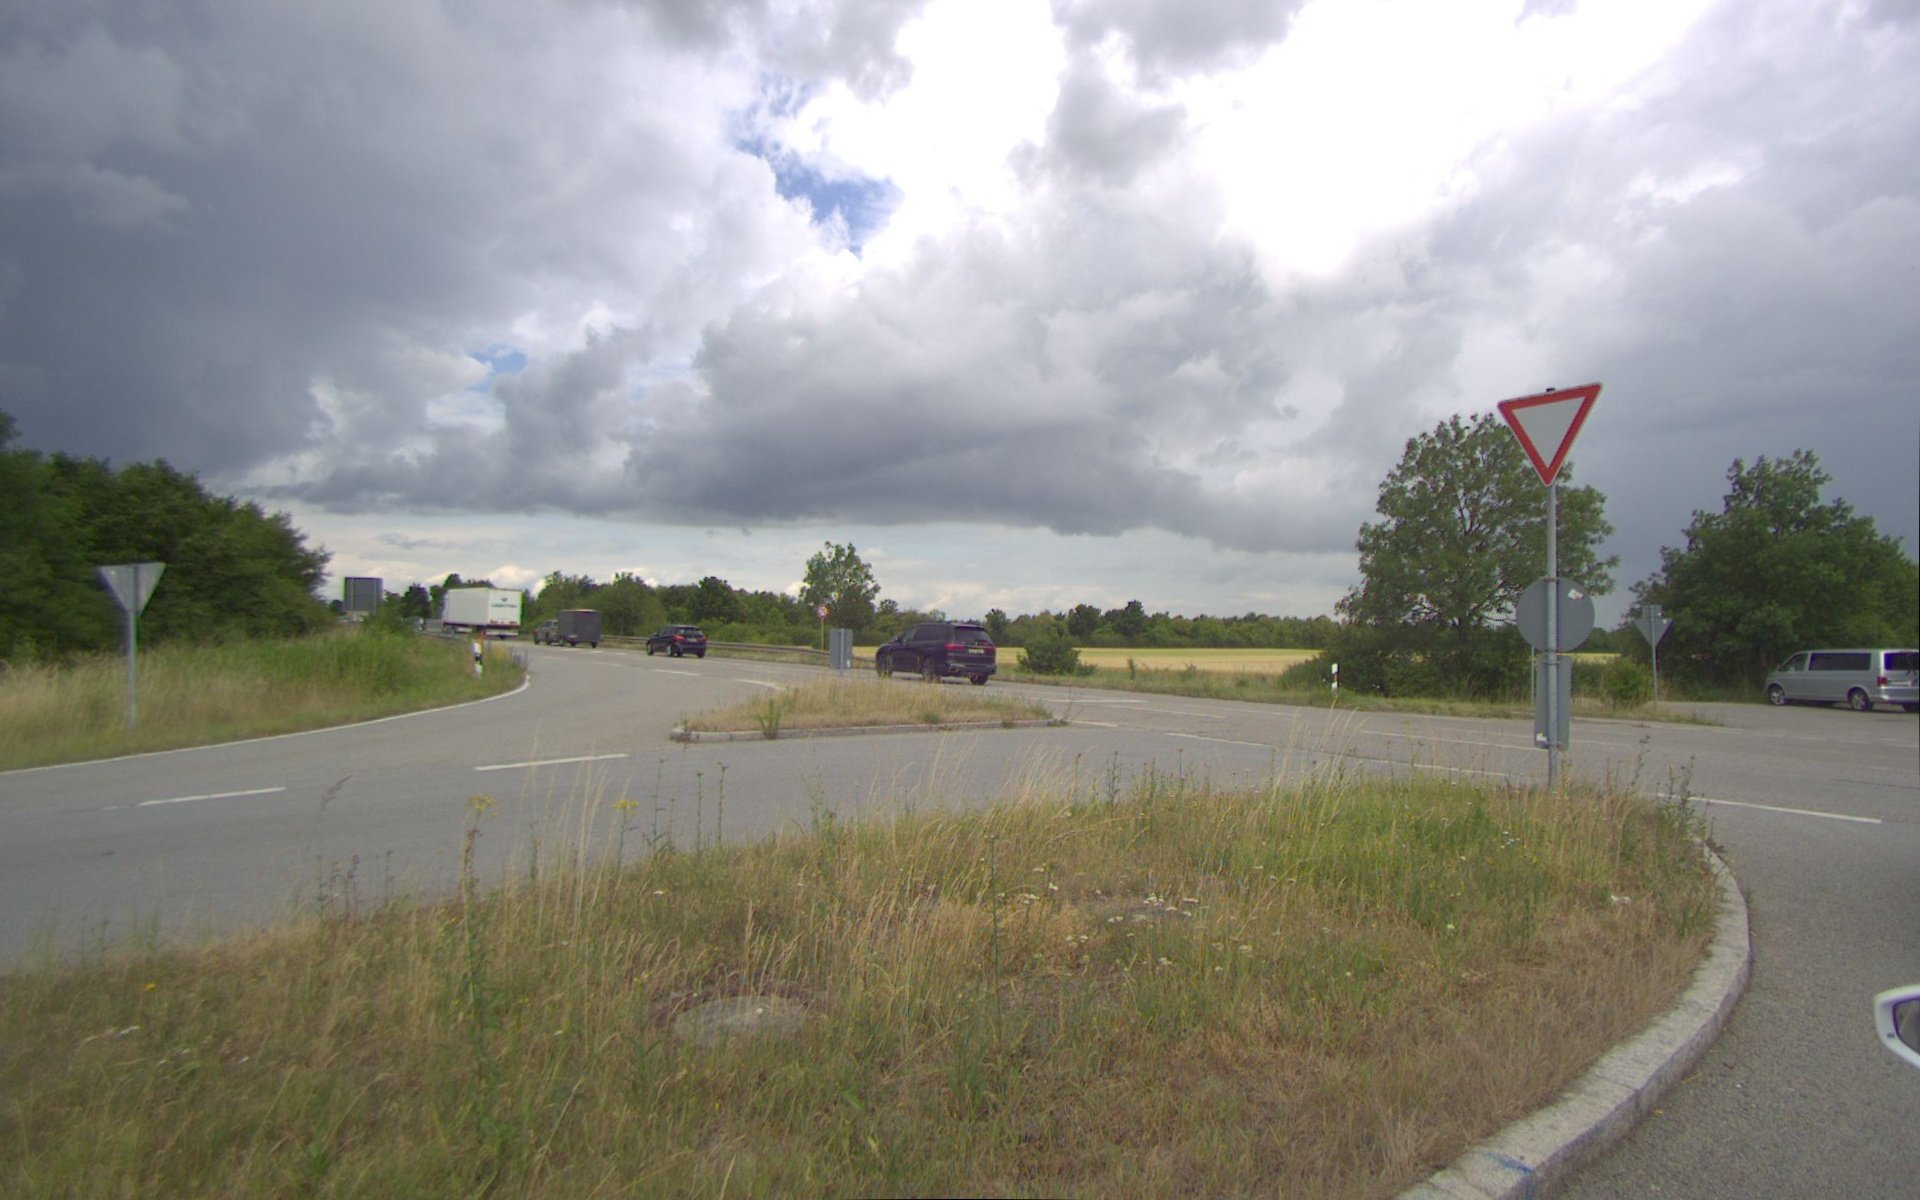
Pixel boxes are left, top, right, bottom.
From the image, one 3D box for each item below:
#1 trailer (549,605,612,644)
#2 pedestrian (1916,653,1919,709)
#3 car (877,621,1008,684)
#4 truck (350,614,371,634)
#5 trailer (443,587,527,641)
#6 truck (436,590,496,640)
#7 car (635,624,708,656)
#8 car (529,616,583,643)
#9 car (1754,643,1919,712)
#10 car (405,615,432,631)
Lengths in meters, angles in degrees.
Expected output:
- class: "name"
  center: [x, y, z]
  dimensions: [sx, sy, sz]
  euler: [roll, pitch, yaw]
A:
- class: "trailer"
  center: [-24.002, 1.590, 63.427]
  dimensions: [2.398, 2.322, 4.346]
  euler: [4, -4, -40]
- class: "pedestrian"
  center: [30.268, 2.533, 31.194]
  dimensions: [0.629, 1.748, 0.530]
  euler: [0, -1, 0]
- class: "car"
  center: [-0.637, 1.567, 30.987]
  dimensions: [1.978, 1.798, 4.605]
  euler: [3, -2, -31]
- class: "truck"
  center: [-86.048, 3.499, 144.070]
  dimensions: [2.046, 2.738, 5.984]
  euler: [2, -2, -36]
- class: "trailer"
  center: [-39.492, 1.225, 83.146]
  dimensions: [3.102, 4.066, 13.734]
  euler: [4, -3, -38]
- class: "truck"
  center: [-43.402, 1.341, 88.118]
  dimensions: [3.102, 4.066, 7.227]
  euler: [4, -3, -38]
- class: "car"
  center: [-14.311, 1.994, 49.747]
  dimensions: [1.983, 1.506, 4.254]
  euler: [3, -3, -39]
- class: "car"
  center: [-26.871, 1.955, 66.807]
  dimensions: [1.985, 1.704, 4.426]
  euler: [4, -4, -40]
- class: "car"
  center: [29.509, 2.492, 33.413]
  dimensions: [2.295, 2.040, 4.916]
  euler: [0, -2, 1]
- class: "car"
  center: [-59.167, 2.545, 109.723]
  dimensions: [1.981, 1.622, 4.182]
  euler: [1, -3, -36]
